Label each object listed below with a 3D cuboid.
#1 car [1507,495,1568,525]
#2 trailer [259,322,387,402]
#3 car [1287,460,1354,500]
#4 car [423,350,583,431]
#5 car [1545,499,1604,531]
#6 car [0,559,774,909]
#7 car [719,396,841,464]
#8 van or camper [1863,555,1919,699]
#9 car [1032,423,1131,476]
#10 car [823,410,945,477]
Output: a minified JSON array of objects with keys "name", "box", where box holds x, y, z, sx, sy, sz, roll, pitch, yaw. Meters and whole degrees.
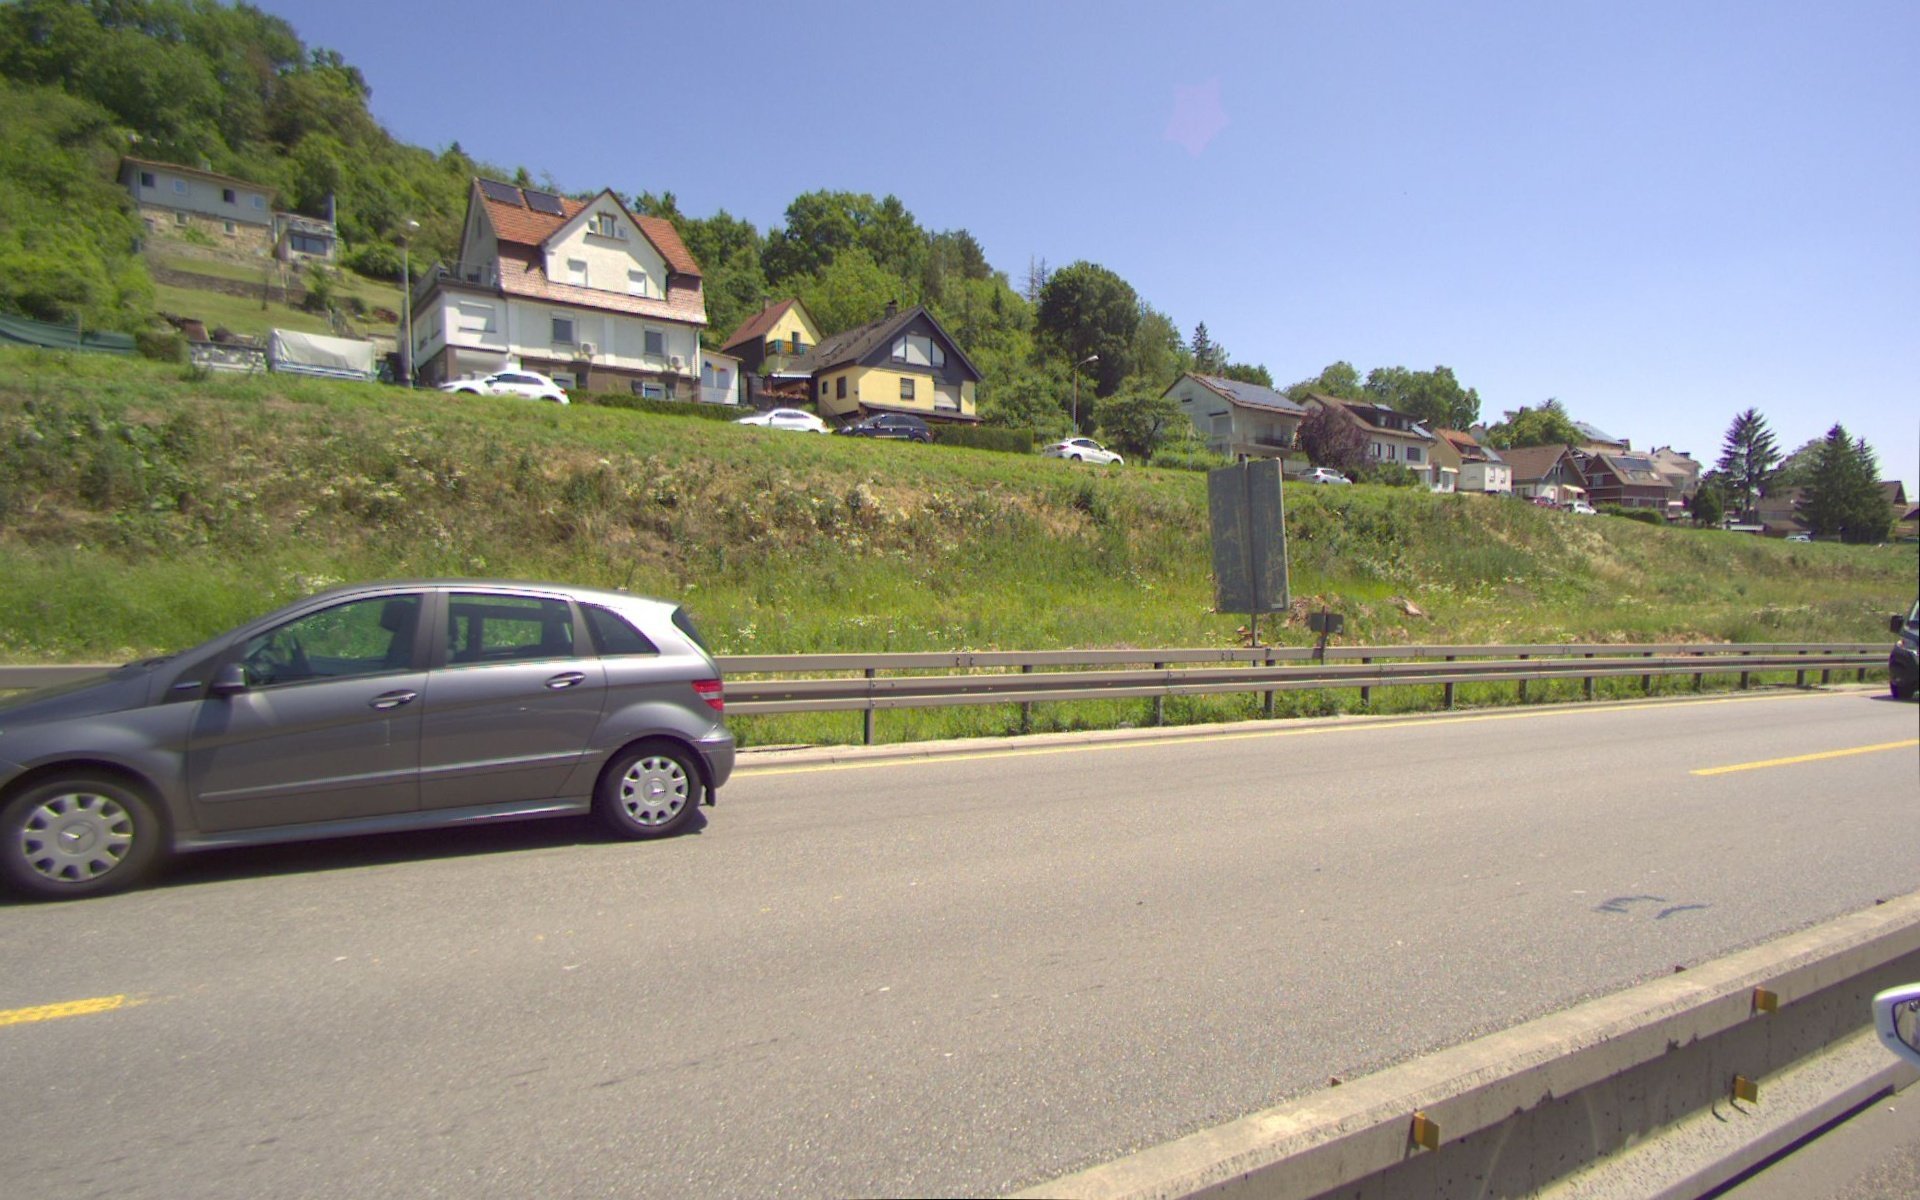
[{"name":"car","box":[45.882,-7.083,79.805,4.752,1.817,2.333,3,-1,-34]},{"name":"trailer","box":[-19.328,-7.163,30.500,3.014,1.536,1.885,3,-1,-41]},{"name":"car","box":[21.998,-7.283,61.199,3.964,1.817,1.979,3,-1,-37]},{"name":"car","box":[-15.328,-6.972,33.826,4.516,1.677,1.977,3,-1,-40]},{"name":"car","box":[51.002,-7.009,83.371,4.768,2.068,2.334,3,-1,-34]},{"name":"car","box":[-3.473,0.633,6.159,4.236,1.603,1.764,1,1,-31]},{"name":"car","box":[-7.232,-6.773,40.488,4.389,1.896,1.980,3,-1,-36]},{"name":"van or camper","box":[20.347,0.563,19.652,6.488,2.608,2.129,1,0,-31]},{"name":"car","box":[6.179,-7.540,50.629,4.966,1.817,1.979,3,-1,-37]},{"name":"car","box":[-3.274,-6.715,43.704,4.925,2.035,2.057,3,-1,-36]}]
